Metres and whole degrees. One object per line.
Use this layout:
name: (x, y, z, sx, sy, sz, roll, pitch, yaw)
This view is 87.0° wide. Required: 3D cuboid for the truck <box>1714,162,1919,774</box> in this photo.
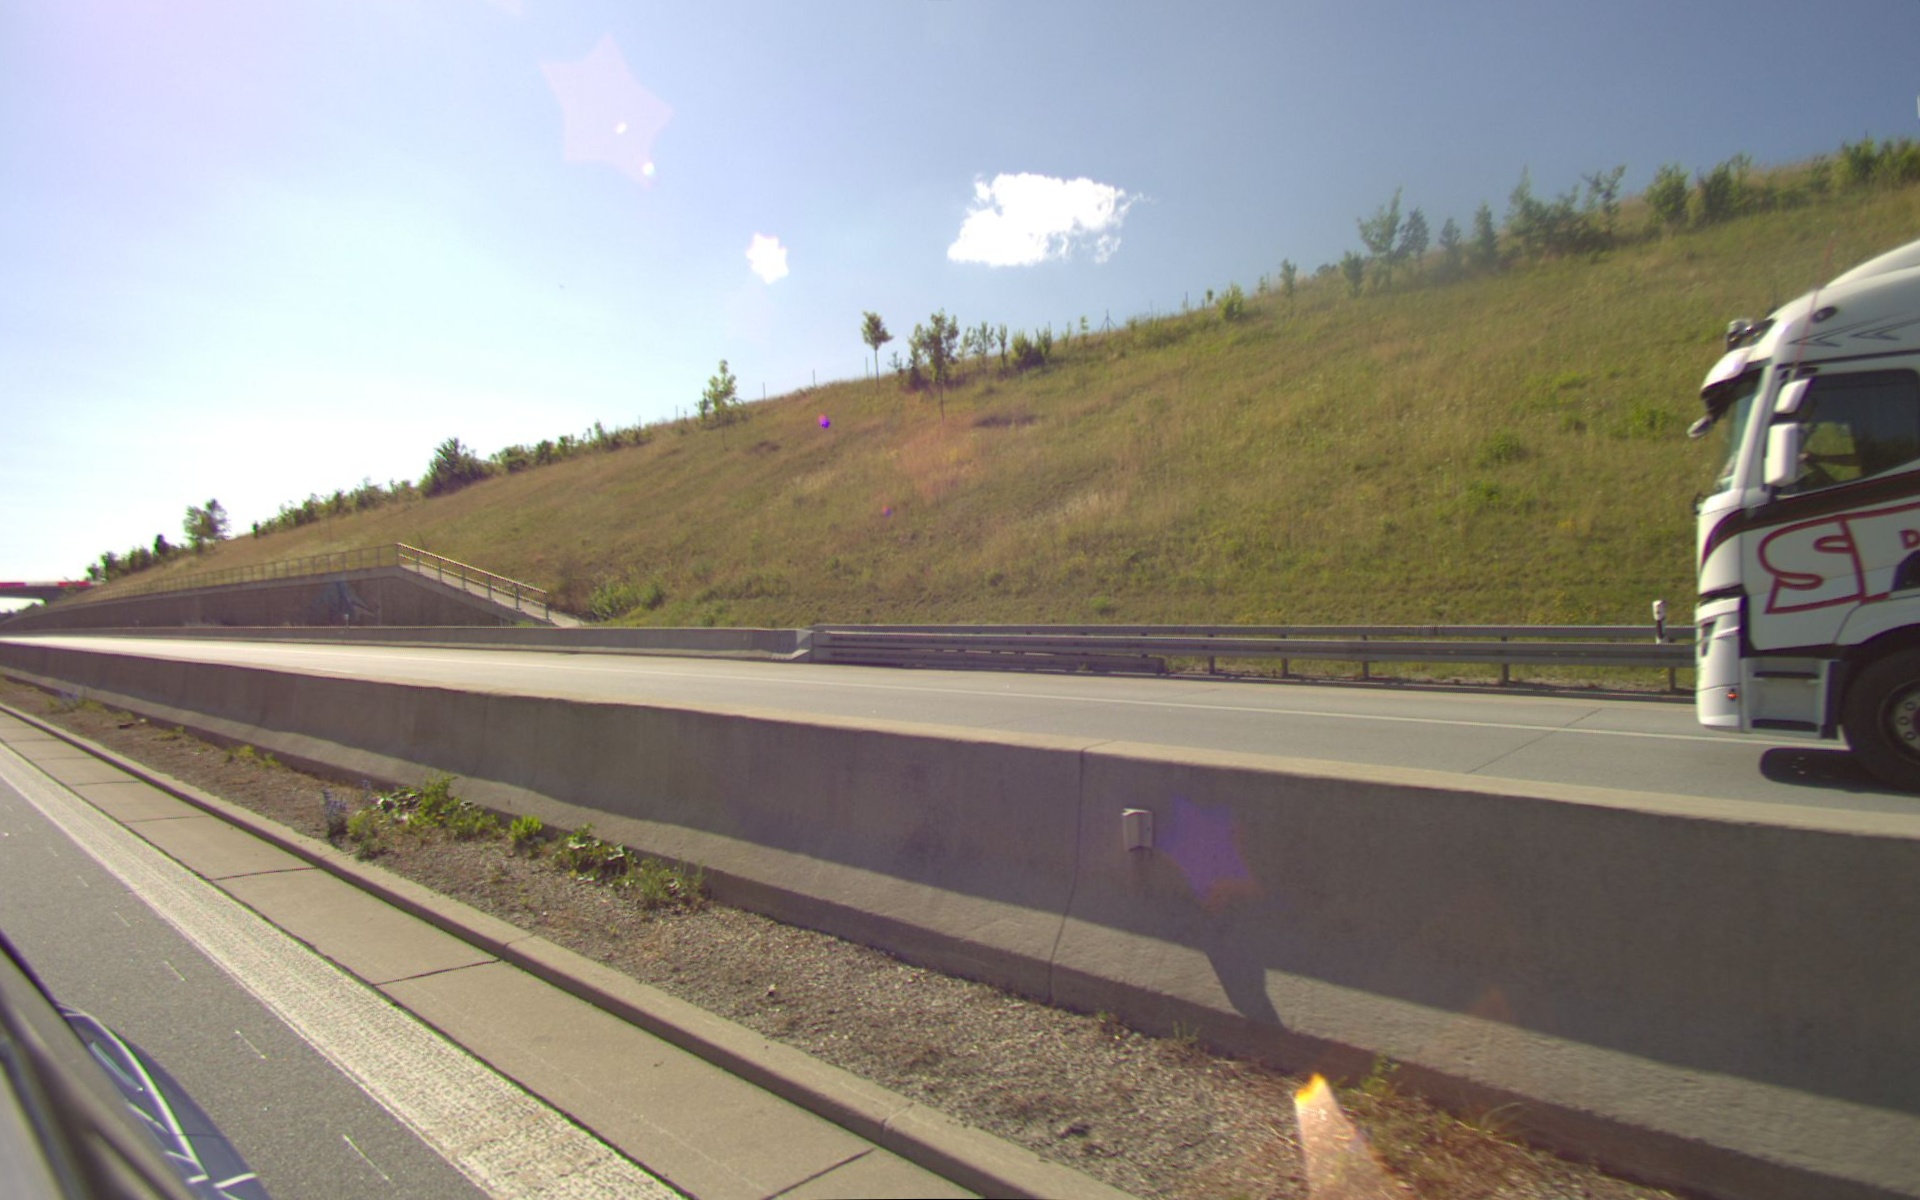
truck: (11.042, -0.921, 4.290, 12.438, 3.971, 2.728, -1, 0, 40)
